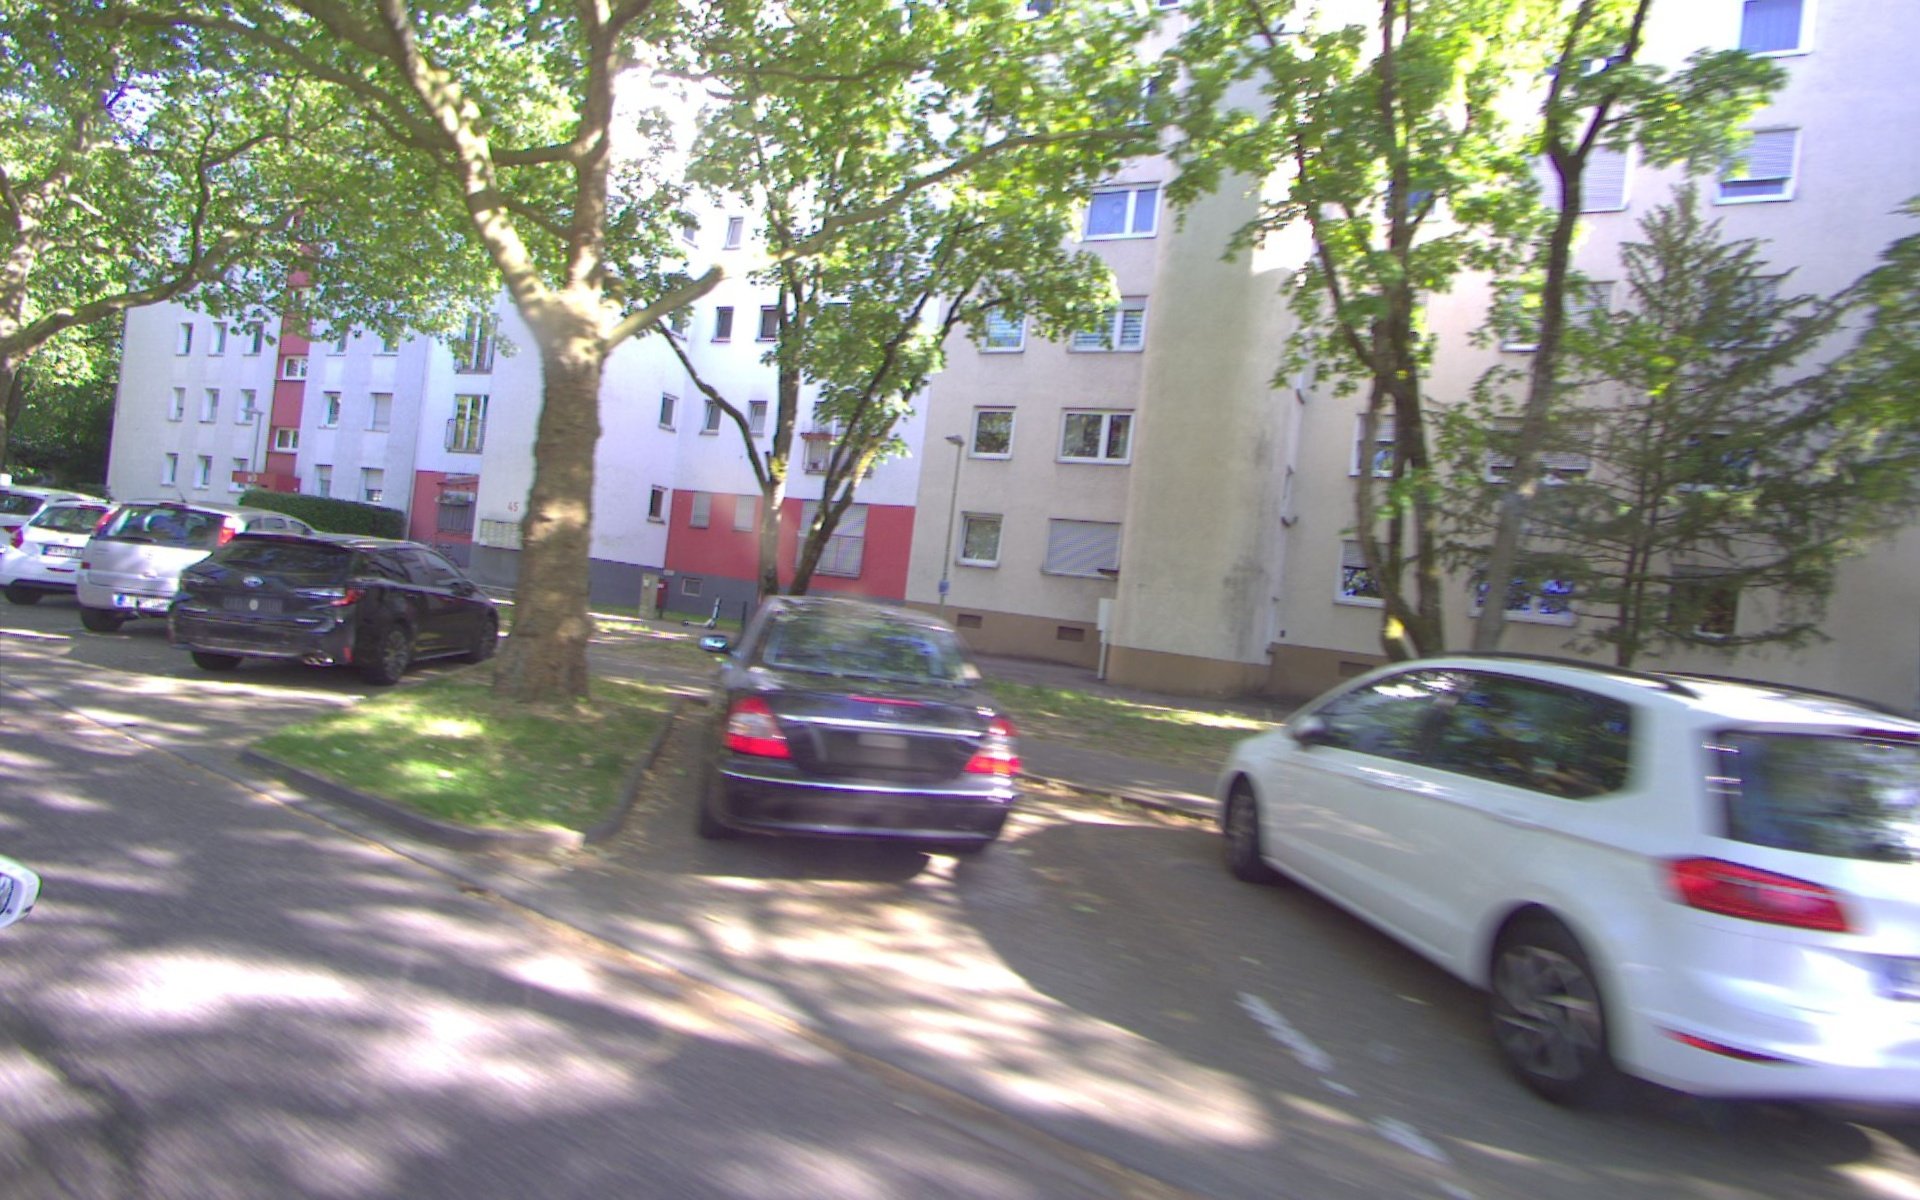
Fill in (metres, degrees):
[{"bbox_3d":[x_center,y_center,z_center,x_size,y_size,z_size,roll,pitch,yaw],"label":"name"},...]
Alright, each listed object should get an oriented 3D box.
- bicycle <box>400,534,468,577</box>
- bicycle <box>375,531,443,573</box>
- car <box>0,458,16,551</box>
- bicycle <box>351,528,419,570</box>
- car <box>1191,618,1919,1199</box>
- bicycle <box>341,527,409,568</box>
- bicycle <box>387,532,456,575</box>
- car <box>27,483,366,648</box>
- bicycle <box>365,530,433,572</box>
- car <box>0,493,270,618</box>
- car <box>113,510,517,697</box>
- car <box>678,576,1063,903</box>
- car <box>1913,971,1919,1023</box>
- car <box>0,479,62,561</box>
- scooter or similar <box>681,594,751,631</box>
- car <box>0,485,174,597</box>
[{"bbox_3d":[-15.770,-1.321,30.228,0.491,1.144,1.796,7,2,27],"label":"bicycle"},{"bbox_3d":[-16.803,-1.451,30.716,0.491,1.144,1.796,7,2,27],"label":"bicycle"},{"bbox_3d":[-22.402,-2.208,20.669,1.982,2.079,4.581,6,1,-8],"label":"car"},{"bbox_3d":[-17.824,-1.562,31.202,0.491,1.144,1.796,7,2,27],"label":"bicycle"},{"bbox_3d":[2.813,1.064,5.008,1.769,1.596,3.993,7,1,-8],"label":"car"},{"bbox_3d":[-18.289,-1.627,31.474,0.491,1.144,1.796,7,2,27],"label":"bicycle"},{"bbox_3d":[-16.297,-1.386,30.468,0.540,1.144,1.796,7,2,27],"label":"bicycle"},{"bbox_3d":[-9.489,-0.426,12.967,1.770,1.610,3.990,6,1,-10],"label":"car"},{"bbox_3d":[-17.286,-1.505,31.016,0.491,1.144,1.796,7,2,27],"label":"bicycle"},{"bbox_3d":[-12.099,-0.649,14.785,1.802,1.437,3.988,6,1,-13],"label":"car"},{"bbox_3d":[-6.616,-0.013,11.037,1.917,1.447,4.401,6,1,-7],"label":"car"},{"bbox_3d":[-0.912,0.674,7.204,1.771,1.440,4.577,7,0,-13],"label":"car"},{"bbox_3d":[6.049,1.540,3.216,1.769,1.462,3.992,7,0,-9],"label":"car"},{"bbox_3d":[-19.788,-1.665,19.365,1.802,1.601,4.048,6,1,-11],"label":"car"},{"bbox_3d":[-5.631,0.289,23.267,1.354,0.703,0.702,6,1,7],"label":"scooter or similar"},{"bbox_3d":[-14.662,-0.987,16.022,1.772,1.530,4.197,6,1,-15],"label":"car"}]
